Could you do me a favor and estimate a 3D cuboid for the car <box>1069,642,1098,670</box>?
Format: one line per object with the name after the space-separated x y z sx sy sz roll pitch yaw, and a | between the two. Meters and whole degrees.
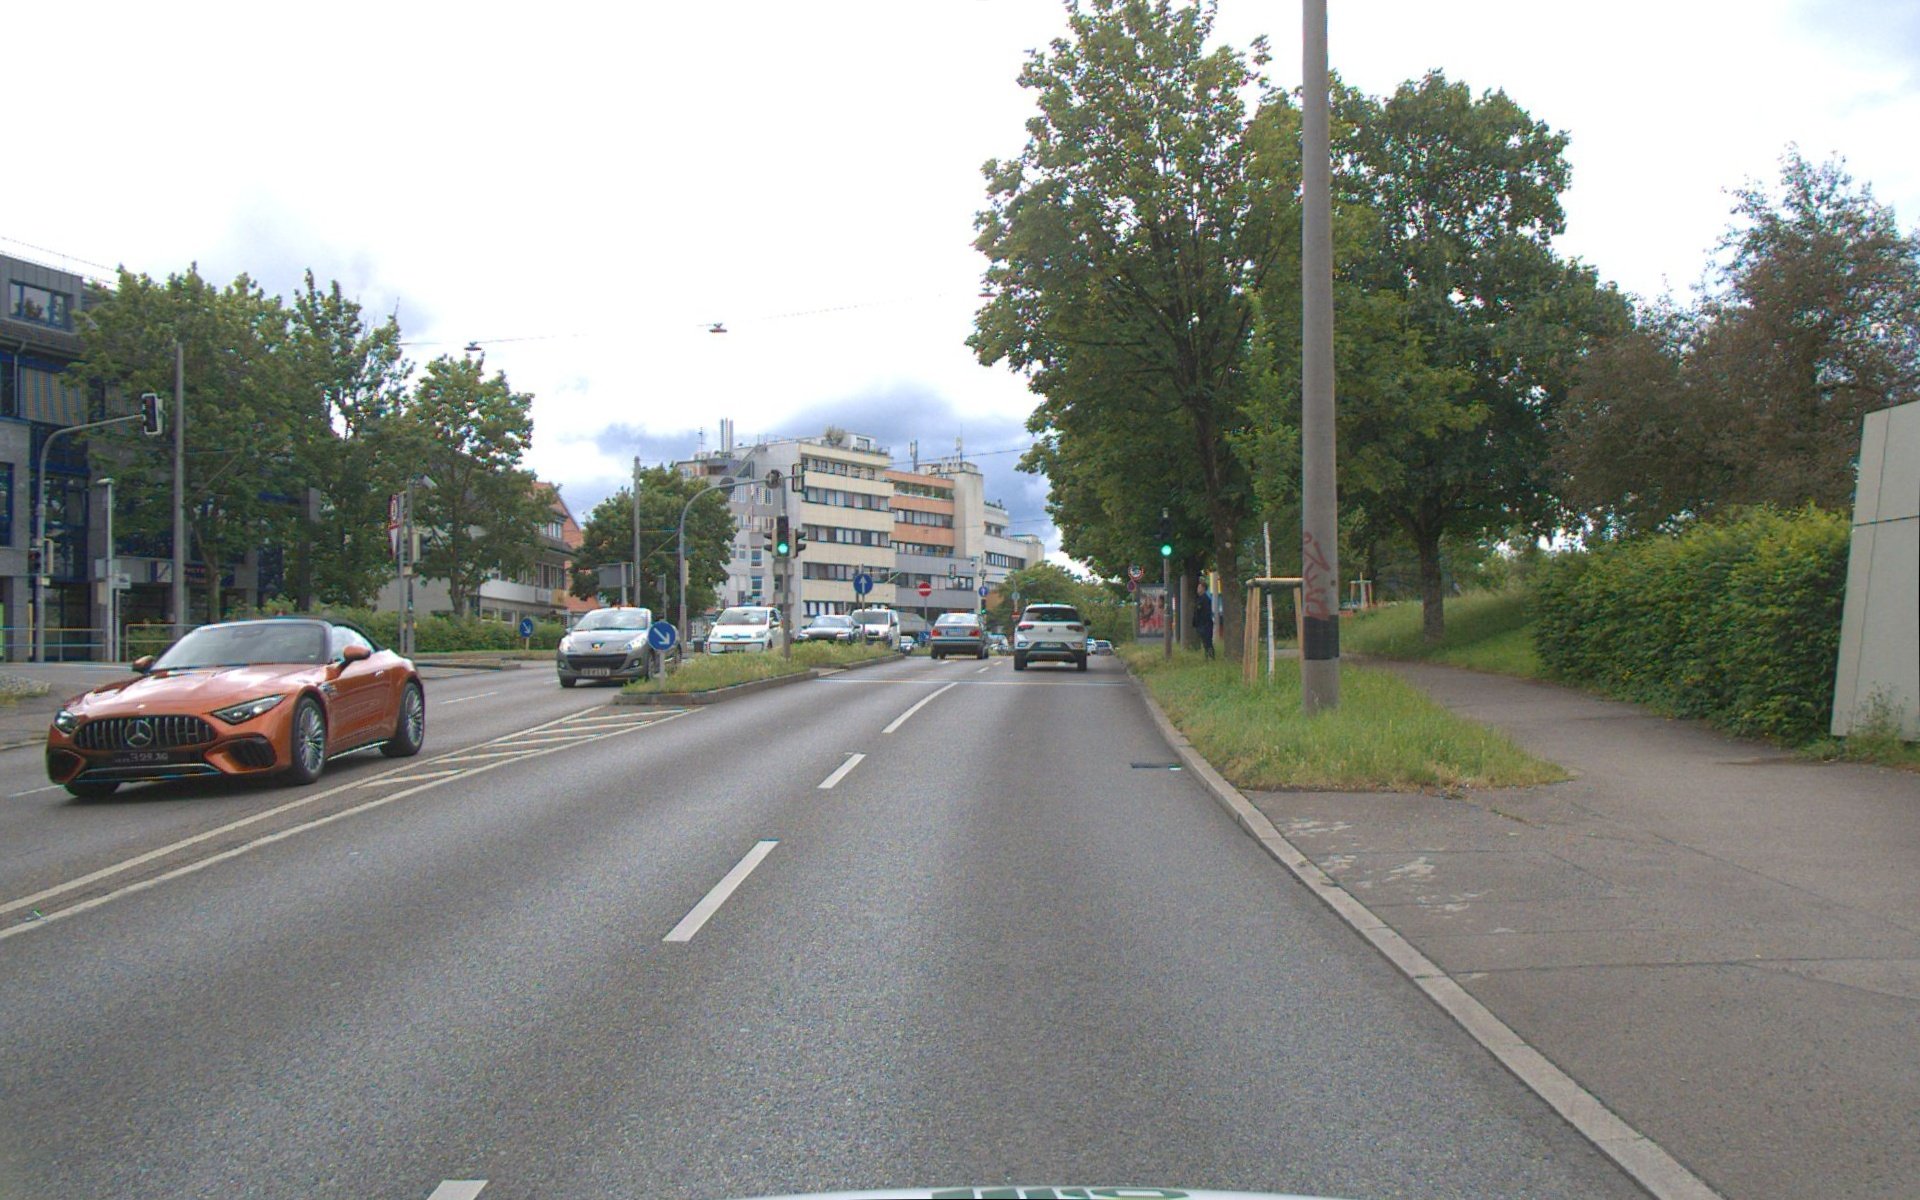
8.194 3.712 110.082 1.734 1.598 4.286 -1 0 2 | car

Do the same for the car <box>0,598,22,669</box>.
-21.528 0.643 33.315 1.740 1.489 4.439 1 -1 23 | car

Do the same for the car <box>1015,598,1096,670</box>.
2.365 0.785 40.349 1.664 1.575 3.739 2 1 7 | car

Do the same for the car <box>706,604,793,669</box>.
-5.534 0.926 43.865 1.740 1.592 4.000 -1 0 1 | car

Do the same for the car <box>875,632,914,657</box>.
-3.949 2.687 100.554 1.822 1.453 4.002 -1 -1 5 | car

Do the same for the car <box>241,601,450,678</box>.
-13.394 0.826 36.206 1.749 1.571 3.977 -1 0 41 | car

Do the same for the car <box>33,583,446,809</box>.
-6.087 0.706 14.593 1.735 1.598 4.284 -3 0 -1 | car

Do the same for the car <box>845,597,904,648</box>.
-3.524 0.897 69.007 1.797 2.037 4.860 0 0 5 | car

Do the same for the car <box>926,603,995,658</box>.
0.055 0.926 51.206 1.663 1.542 3.739 -1 1 7 | car

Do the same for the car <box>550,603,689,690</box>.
-6.365 0.829 31.305 1.740 1.507 3.980 -1 0 1 | car

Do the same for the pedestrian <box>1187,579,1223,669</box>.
5.230 0.515 35.317 0.629 1.888 0.673 -1 0 -1 | pedestrian

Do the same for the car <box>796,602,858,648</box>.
-4.629 0.847 58.002 1.741 1.507 4.481 -2 0 1 | car
